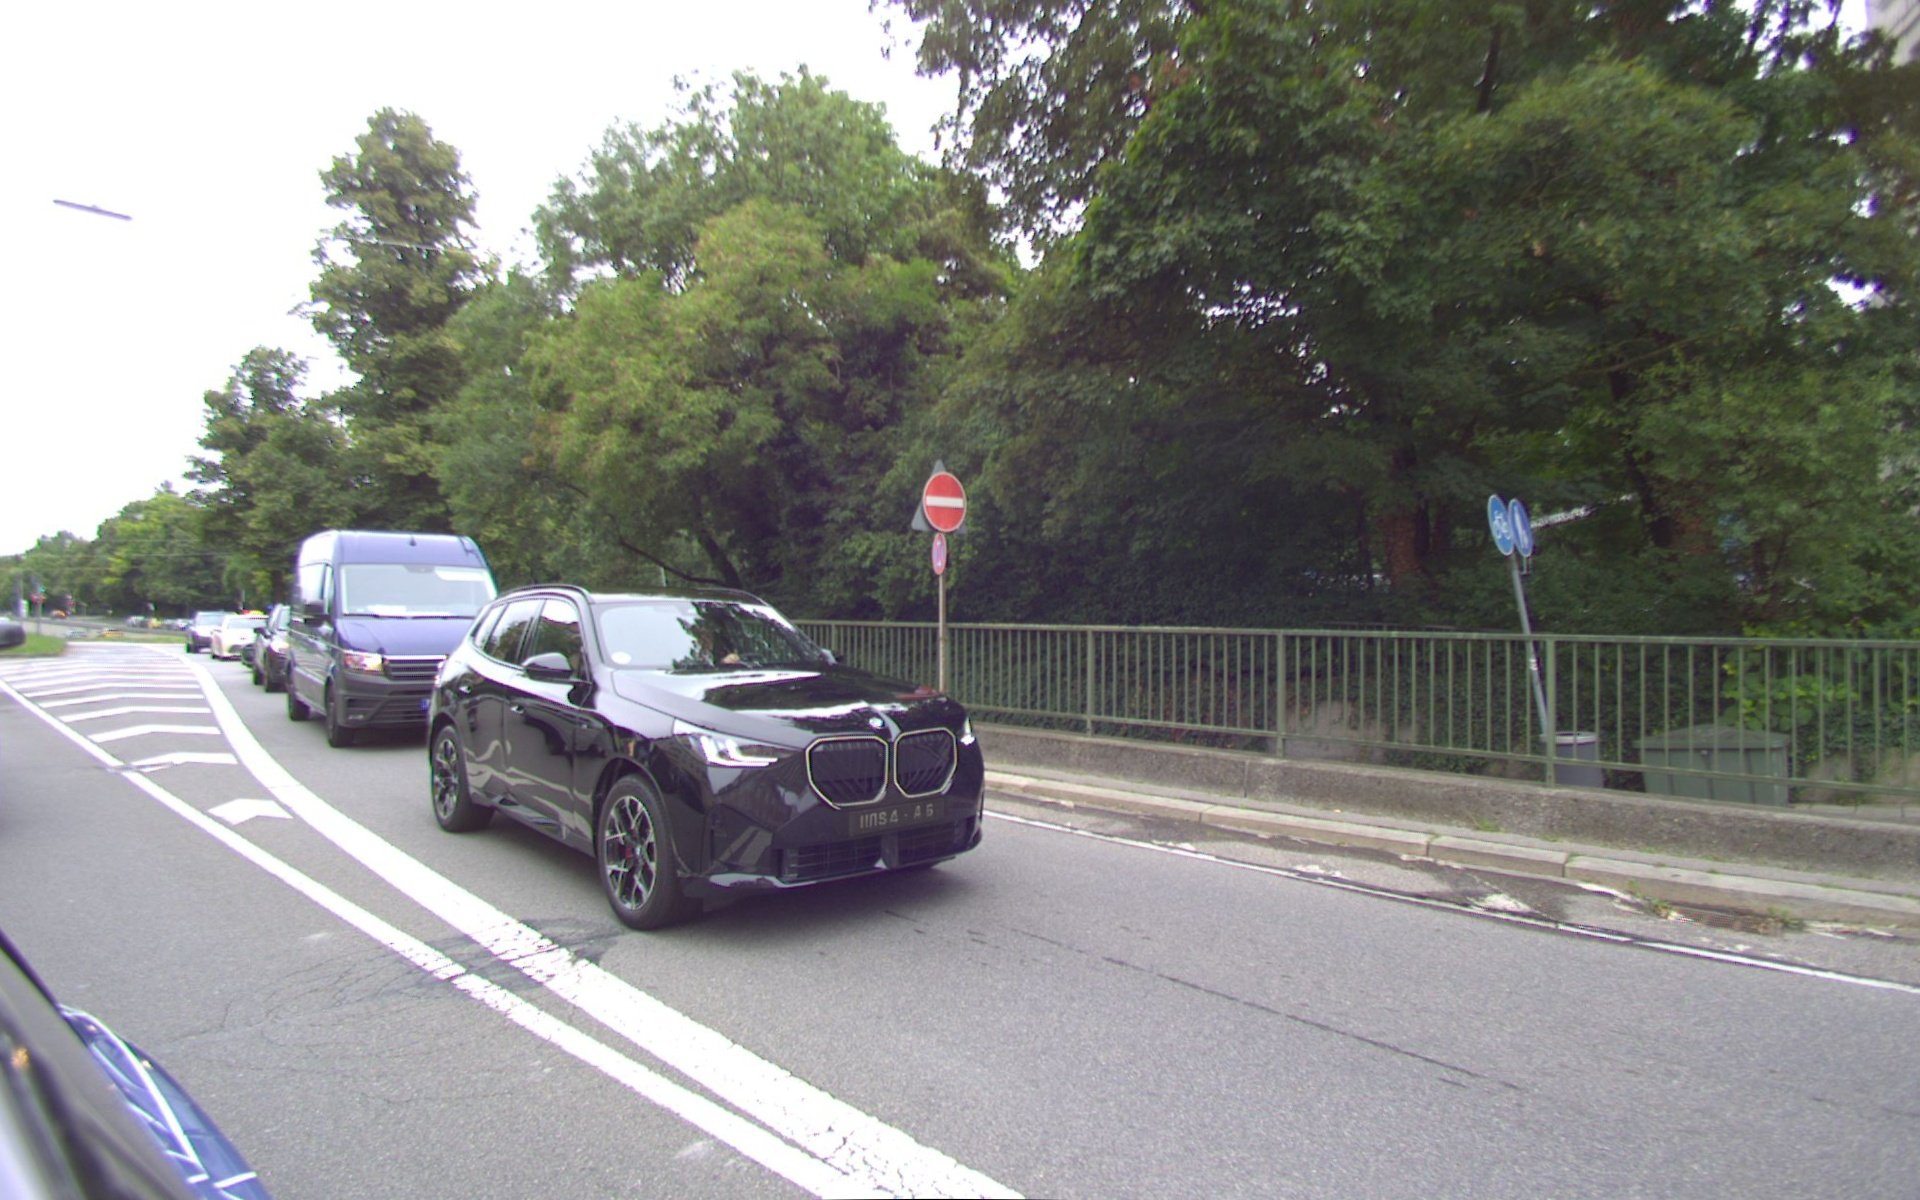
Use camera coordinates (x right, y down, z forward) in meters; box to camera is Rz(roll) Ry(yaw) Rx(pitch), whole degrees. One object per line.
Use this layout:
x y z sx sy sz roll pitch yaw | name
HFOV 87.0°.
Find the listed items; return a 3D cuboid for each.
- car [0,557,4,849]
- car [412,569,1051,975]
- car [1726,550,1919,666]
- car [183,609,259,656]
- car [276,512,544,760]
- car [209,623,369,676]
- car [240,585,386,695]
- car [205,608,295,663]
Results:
-8.610 0.542 7.425 5.630 2.115 1.803 -2 0 41 | car
-1.679 0.708 6.173 1.893 1.577 4.298 2 -2 -43 | car
25.483 0.253 29.143 4.758 3.199 2.473 0 -2 14 | car
-30.266 1.290 41.388 2.280 1.742 5.225 -1 0 -38 | car
-7.452 0.383 13.281 1.975 2.510 6.244 1 -1 -39 | car
-17.165 1.236 26.091 1.478 1.223 3.604 0 -1 6 | car
-13.550 0.764 21.011 1.976 1.951 5.816 -1 0 -38 | car
-23.046 1.102 32.745 2.072 1.602 5.579 -1 0 -38 | car
